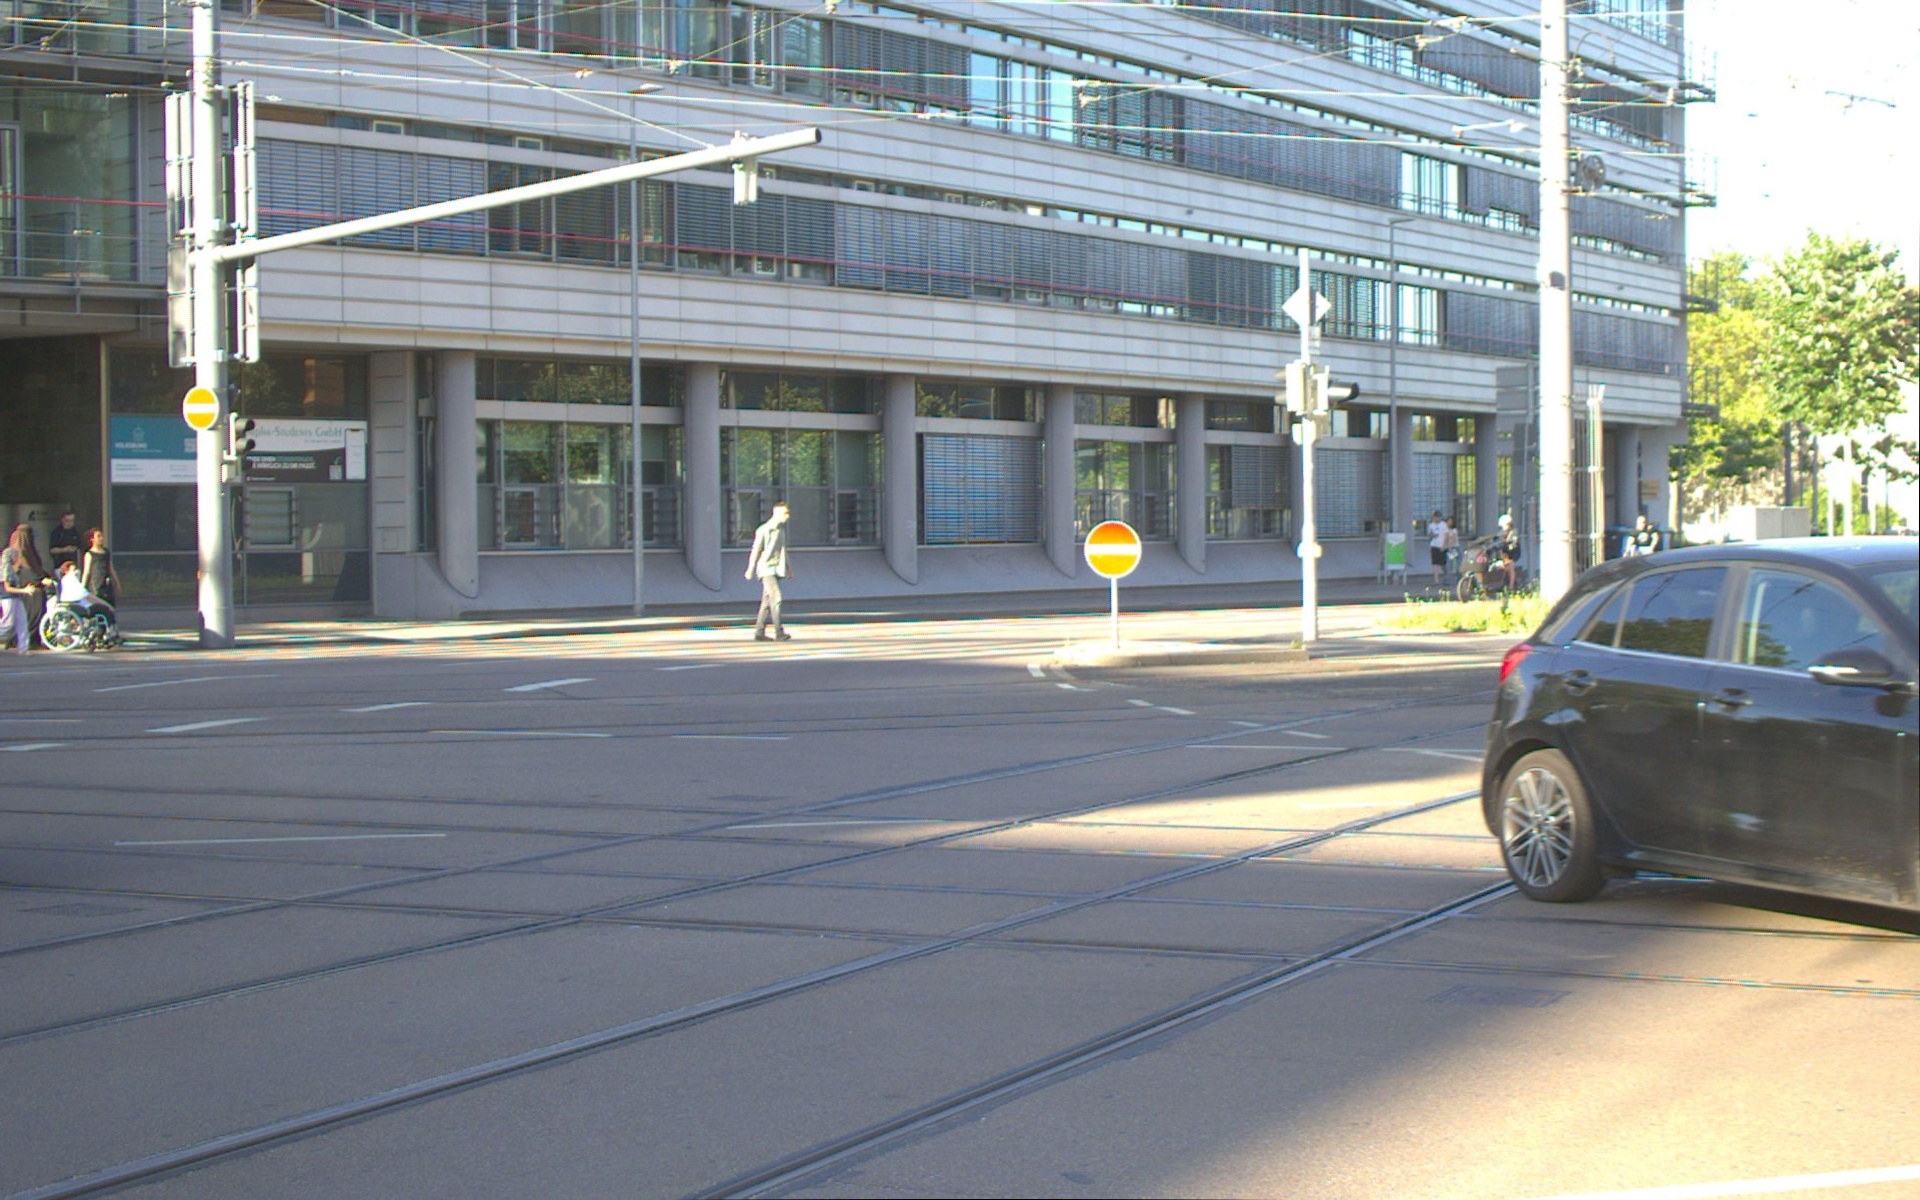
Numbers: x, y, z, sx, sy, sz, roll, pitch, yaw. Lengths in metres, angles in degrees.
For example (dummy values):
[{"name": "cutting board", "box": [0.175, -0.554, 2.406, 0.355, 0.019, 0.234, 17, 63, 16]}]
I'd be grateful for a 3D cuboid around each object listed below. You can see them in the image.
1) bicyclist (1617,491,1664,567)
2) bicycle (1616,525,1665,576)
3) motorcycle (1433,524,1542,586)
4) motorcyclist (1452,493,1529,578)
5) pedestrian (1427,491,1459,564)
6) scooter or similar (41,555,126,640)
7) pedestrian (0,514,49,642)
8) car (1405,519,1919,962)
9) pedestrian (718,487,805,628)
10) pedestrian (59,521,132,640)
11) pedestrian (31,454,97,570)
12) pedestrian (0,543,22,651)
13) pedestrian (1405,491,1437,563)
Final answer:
[{"name": "bicyclist", "box": [15.001, -1.568, 75.790, 0.765, 1.661, 0.992, 1, 1, 26]}, {"name": "bicycle", "box": [15.004, -1.096, 75.790, 0.643, 1.104, 1.683, 1, 1, 26]}, {"name": "motorcycle", "box": [10.773, -0.923, 70.168, 0.985, 1.227, 2.937, 0, 1, 35]}, {"name": "motorcyclist", "box": [10.854, -1.318, 70.288, 1.021, 1.725, 1.457, 0, 1, 35]}, {"name": "pedestrian", "box": [11.567, -1.731, 82.253, 0.549, 1.727, 0.641, 0, 1, 30]}, {"name": "scooter or similar", "box": [-11.700, -0.040, 45.920, 1.015, 1.125, 0.550, 0, 1, -4]}, {"name": "pedestrian", "box": [-12.529, -0.297, 45.834, 0.636, 1.702, 0.581, 0, 1, -5]}, {"name": "car", "box": [3.586, 0.439, 12.727, 1.791, 1.461, 4.312, -2, 2, -25]}, {"name": "pedestrian", "box": [-2.592, -0.550, 44.870, 0.884, 1.817, 0.675, -1, 0, 37]}, {"name": "pedestrian", "box": [-11.872, -0.273, 47.231, 0.722, 1.612, 0.653, 0, 1, 33]}, {"name": "pedestrian", "box": [-13.281, -1.308, 50.980, 0.645, 1.709, 0.688, 1, 2, 38]}, {"name": "pedestrian", "box": [-12.593, -0.044, 44.775, 0.636, 1.397, 0.546, 0, 1, -5]}, {"name": "pedestrian", "box": [11.058, -1.747, 82.537, 0.549, 1.727, 0.641, 0, 1, 30]}]
